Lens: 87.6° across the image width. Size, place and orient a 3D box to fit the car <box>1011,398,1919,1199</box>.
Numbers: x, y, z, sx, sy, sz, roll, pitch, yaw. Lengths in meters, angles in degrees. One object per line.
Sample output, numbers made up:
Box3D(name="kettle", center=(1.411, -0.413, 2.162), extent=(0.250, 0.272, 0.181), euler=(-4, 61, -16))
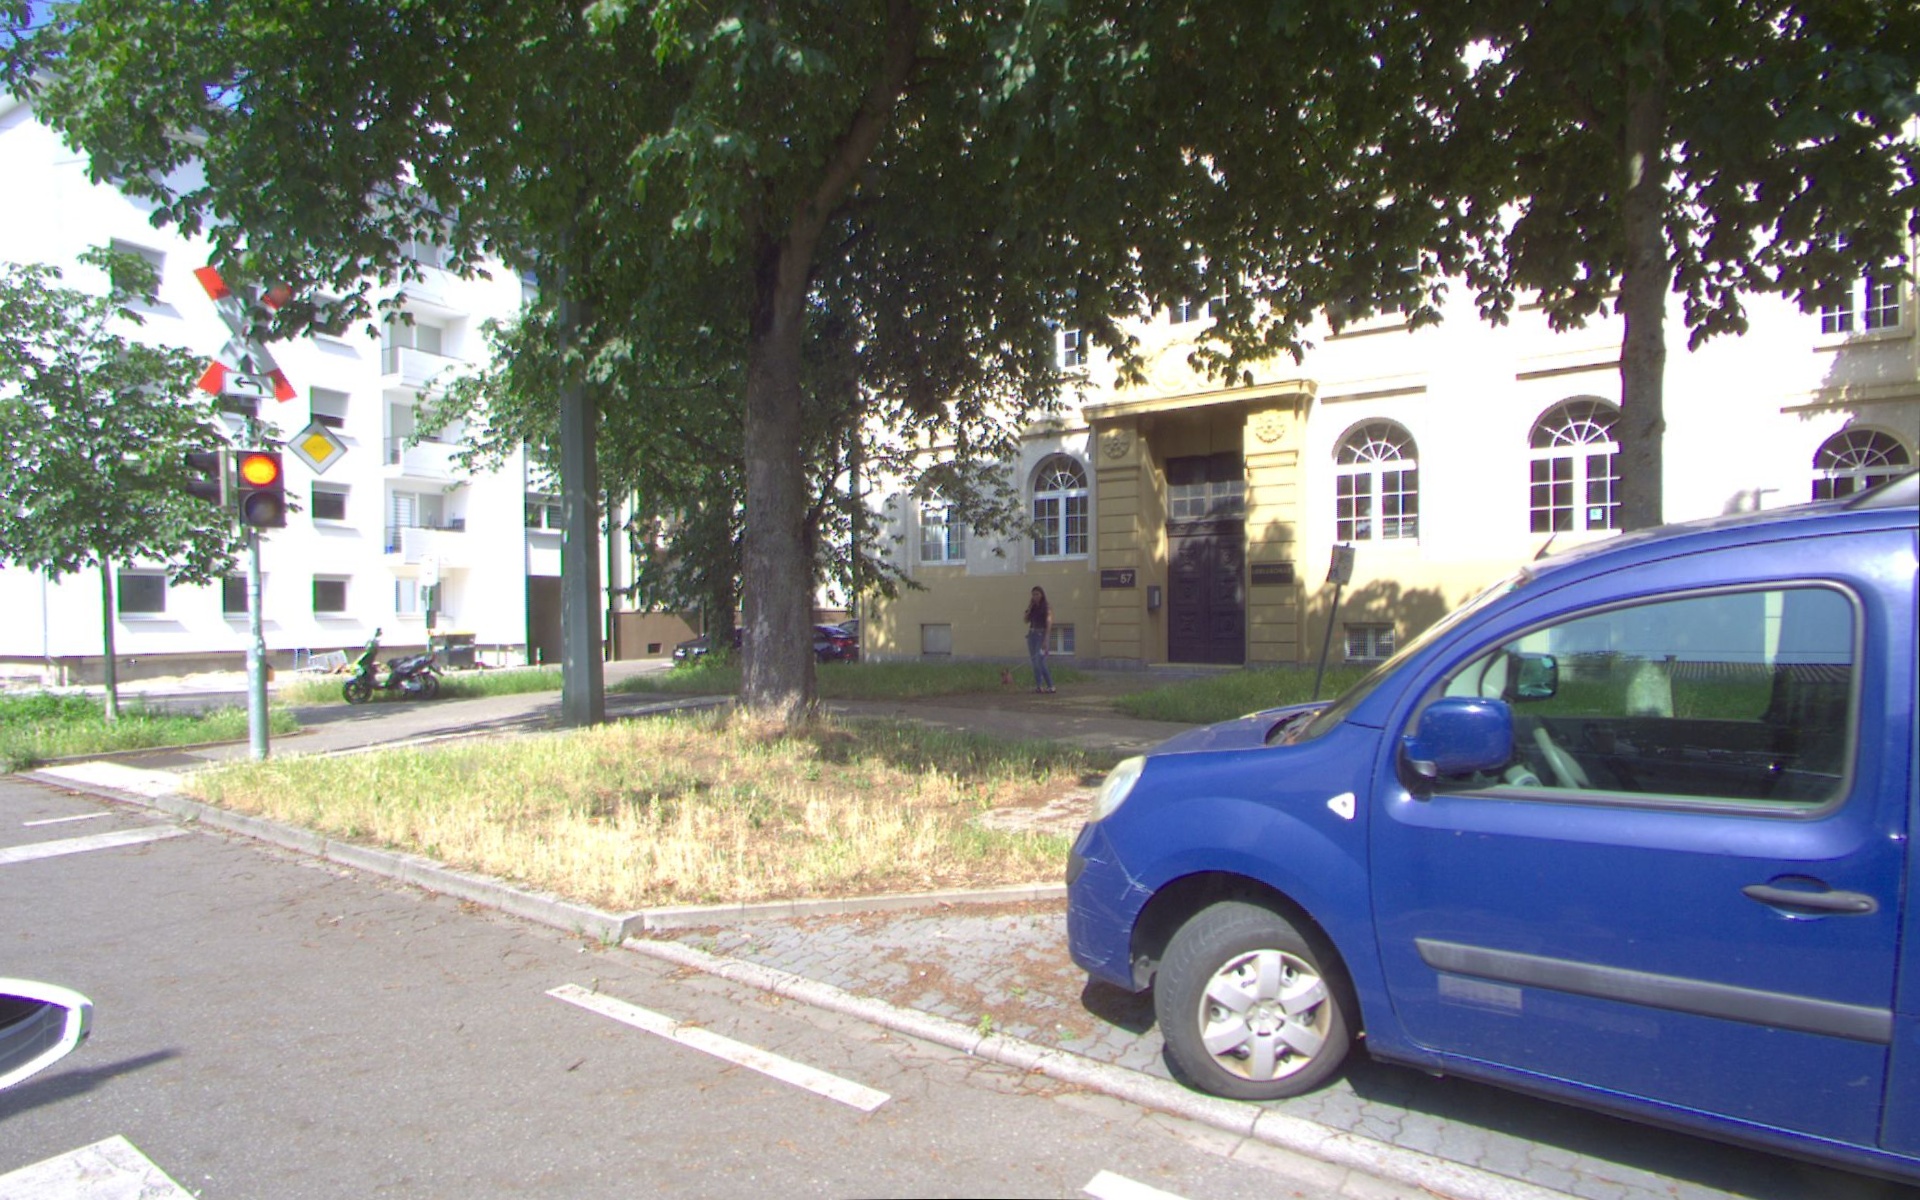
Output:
Box3D(name="car", center=(2.369, 0.538, 2.871), extent=(4.128, 1.921, 1.816), euler=(0, 1, 36))

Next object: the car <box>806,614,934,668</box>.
Box3D(name="car", center=(-2.870, 1.246, 31.366), extent=(3.955, 1.560, 1.797), euler=(-1, 0, 42))

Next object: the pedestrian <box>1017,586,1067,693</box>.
Box3D(name="pedestrian", center=(1.290, 0.607, 15.629), extent=(0.532, 1.617, 0.630), euler=(-1, 0, 31))

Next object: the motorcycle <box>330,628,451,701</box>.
Box3D(name="motorcycle", center=(-10.439, 1.170, 18.389), extent=(1.811, 1.233, 0.571), euler=(-2, 4, 0))

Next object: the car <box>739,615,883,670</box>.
Box3D(name="car", center=(-4.345, 1.180, 28.971), extent=(3.942, 1.478, 1.736), euler=(-1, 0, 32))
